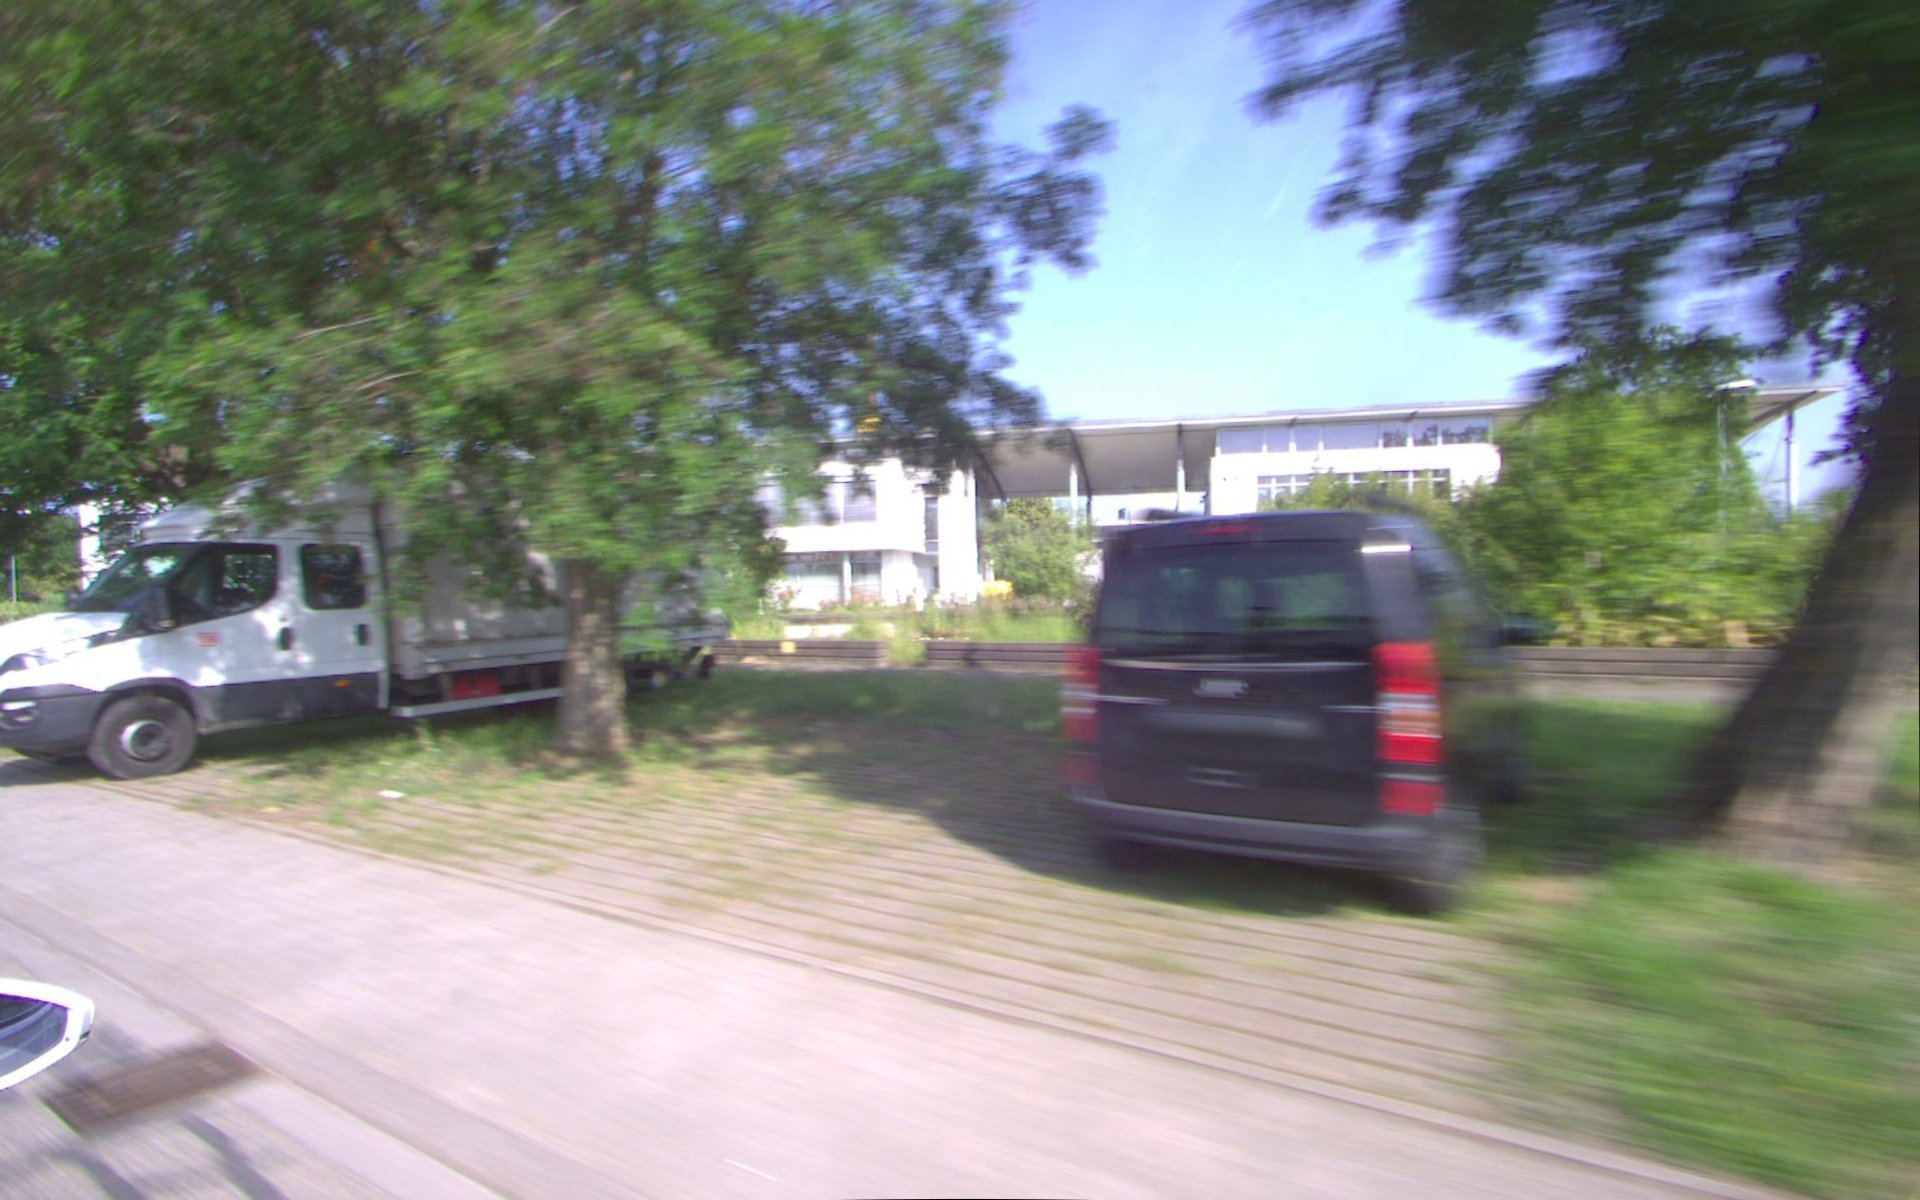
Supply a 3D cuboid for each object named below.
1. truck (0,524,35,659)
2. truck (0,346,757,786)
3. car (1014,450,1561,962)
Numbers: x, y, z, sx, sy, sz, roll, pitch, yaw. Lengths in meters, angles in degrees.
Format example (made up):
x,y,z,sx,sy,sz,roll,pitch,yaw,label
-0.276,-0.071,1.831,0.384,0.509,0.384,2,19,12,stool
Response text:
x,y,z,sx,sy,sz,roll,pitch,yaw,label
-29.958,-0.029,28.660,9.625,3.584,2.877,-2,3,35,truck
-6.361,-0.294,11.922,2.703,3.415,8.188,-2,0,33,truck
2.205,0.376,5.843,1.973,1.862,3.974,-1,1,35,car
